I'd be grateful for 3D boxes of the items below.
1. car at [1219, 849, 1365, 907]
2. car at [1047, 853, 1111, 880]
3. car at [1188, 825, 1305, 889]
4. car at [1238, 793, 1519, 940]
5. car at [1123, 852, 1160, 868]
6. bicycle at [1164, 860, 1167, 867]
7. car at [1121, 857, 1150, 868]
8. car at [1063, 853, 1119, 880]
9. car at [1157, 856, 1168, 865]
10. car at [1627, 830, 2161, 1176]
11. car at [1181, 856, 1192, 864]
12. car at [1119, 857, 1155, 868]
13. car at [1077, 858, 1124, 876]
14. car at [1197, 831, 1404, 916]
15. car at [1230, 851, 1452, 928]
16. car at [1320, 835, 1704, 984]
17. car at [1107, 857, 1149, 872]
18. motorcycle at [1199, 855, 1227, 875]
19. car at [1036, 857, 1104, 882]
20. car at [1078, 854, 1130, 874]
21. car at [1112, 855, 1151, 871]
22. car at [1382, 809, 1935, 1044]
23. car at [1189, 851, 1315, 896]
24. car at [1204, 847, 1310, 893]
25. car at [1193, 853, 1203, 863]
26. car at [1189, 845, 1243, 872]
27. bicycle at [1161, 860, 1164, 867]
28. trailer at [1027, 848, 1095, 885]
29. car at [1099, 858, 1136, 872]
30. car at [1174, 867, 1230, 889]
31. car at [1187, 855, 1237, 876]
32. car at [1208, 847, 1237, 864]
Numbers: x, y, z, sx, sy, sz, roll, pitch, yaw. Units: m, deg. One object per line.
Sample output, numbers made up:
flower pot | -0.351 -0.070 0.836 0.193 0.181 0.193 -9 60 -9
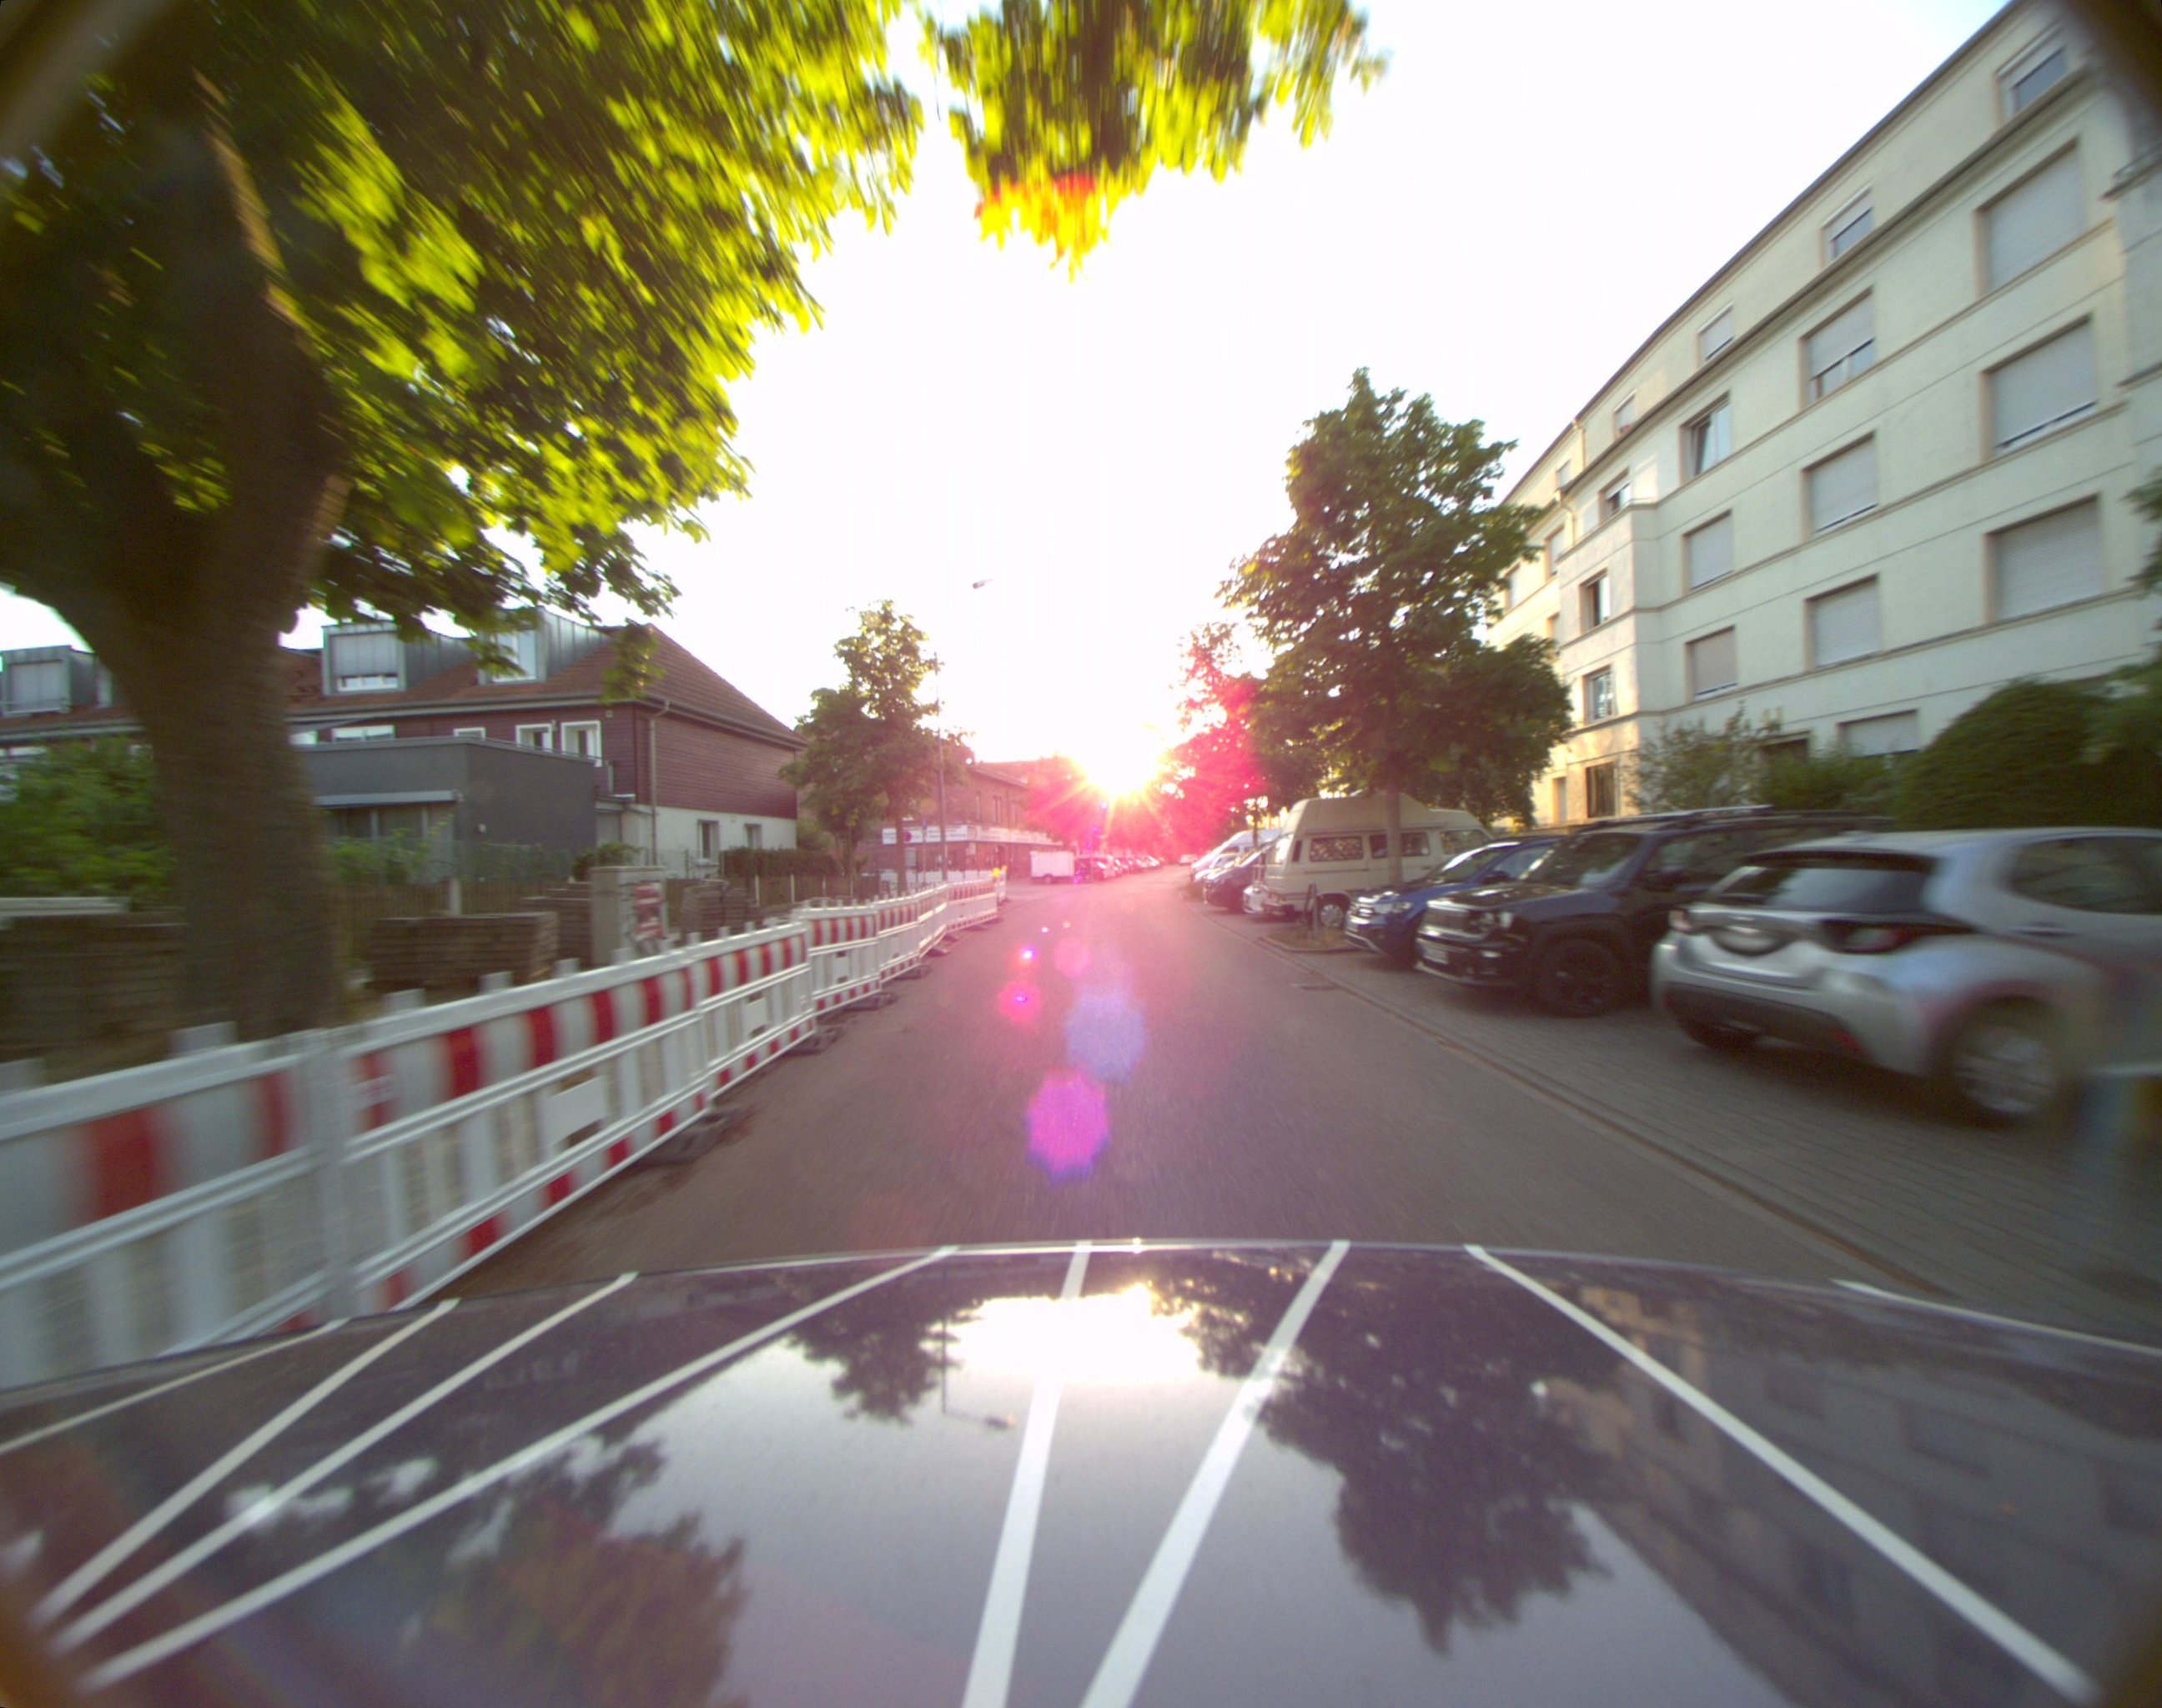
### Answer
car | 6.085 0.692 22.226 3.777 1.430 1.656 -3 0 3
car | -0.139 0.888 55.427 4.309 1.788 1.905 -3 0 9
car | 7.199 0.137 33.512 4.741 2.554 2.001 -3 0 6
car | 5.508 0.233 14.566 4.513 2.416 2.000 -3 0 1
car | 8.903 0.858 111.264 4.967 2.089 2.153 -3 1 15
bicycle | 13.112 1.436 117.489 0.357 1.093 1.973 -3 0 10
car | 7.433 1.193 103.288 3.791 1.488 1.682 0 0 9
car | 0.766 0.938 58.432 3.994 1.892 2.001 -3 0 9
car | 14.991 1.262 139.537 1.798 1.515 4.003 -3 0 10
car | 5.895 0.664 4.527 3.998 1.515 1.789 -3 0 -2
car | 19.251 1.136 138.249 1.731 1.367 3.766 -3 0 10
car | 7.854 1.246 106.057 4.729 1.487 2.002 0 0 10
car | 1.774 1.160 68.423 3.994 1.609 1.896 0 0 8
car | 5.492 0.486 19.485 4.684 1.862 2.000 -3 0 2
car | 5.583 0.737 16.781 4.185 1.417 2.000 -3 0 2
car | 5.312 0.669 9.806 3.869 1.585 1.786 -3 0 3
car | 5.624 1.236 91.153 4.702 1.622 2.002 1 0 12
motorcycle | 10.031 0.860 57.943 1.990 1.428 0.722 -3 0 5
car | -0.765 1.067 53.187 4.435 1.490 1.774 -3 0 9
car | 2.261 0.972 73.835 4.794 1.743 2.019 1 -1 9
car | 6.424 1.110 96.085 4.593 1.851 2.014 2 1 12
car | 5.213 0.594 7.249 3.871 1.766 1.843 -3 0 -3
car | 6.075 0.691 27.440 4.252 1.386 1.685 -3 0 8
car | 6.915 0.620 30.144 3.811 1.513 1.653 -4 0 6
car | 25.170 0.859 163.513 1.997 2.002 4.003 -3 0 10
car | 12.382 0.442 69.571 4.520 2.057 2.002 -5 -2 13
bicycle | 12.586 1.471 117.518 0.357 1.018 1.973 -3 0 10
trailer | -1.254 0.788 49.385 3.994 2.174 2.001 -3 0 9
car | 4.187 1.221 86.544 3.993 1.537 1.846 1 1 10
car | 9.991 1.980 62.636 4.334 1.397 1.853 -4 0 11
car | 10.279 0.891 59.582 3.720 1.497 1.691 -3 0 11
car | 22.746 0.289 121.878 4.409 2.541 1.933 -3 0 12
